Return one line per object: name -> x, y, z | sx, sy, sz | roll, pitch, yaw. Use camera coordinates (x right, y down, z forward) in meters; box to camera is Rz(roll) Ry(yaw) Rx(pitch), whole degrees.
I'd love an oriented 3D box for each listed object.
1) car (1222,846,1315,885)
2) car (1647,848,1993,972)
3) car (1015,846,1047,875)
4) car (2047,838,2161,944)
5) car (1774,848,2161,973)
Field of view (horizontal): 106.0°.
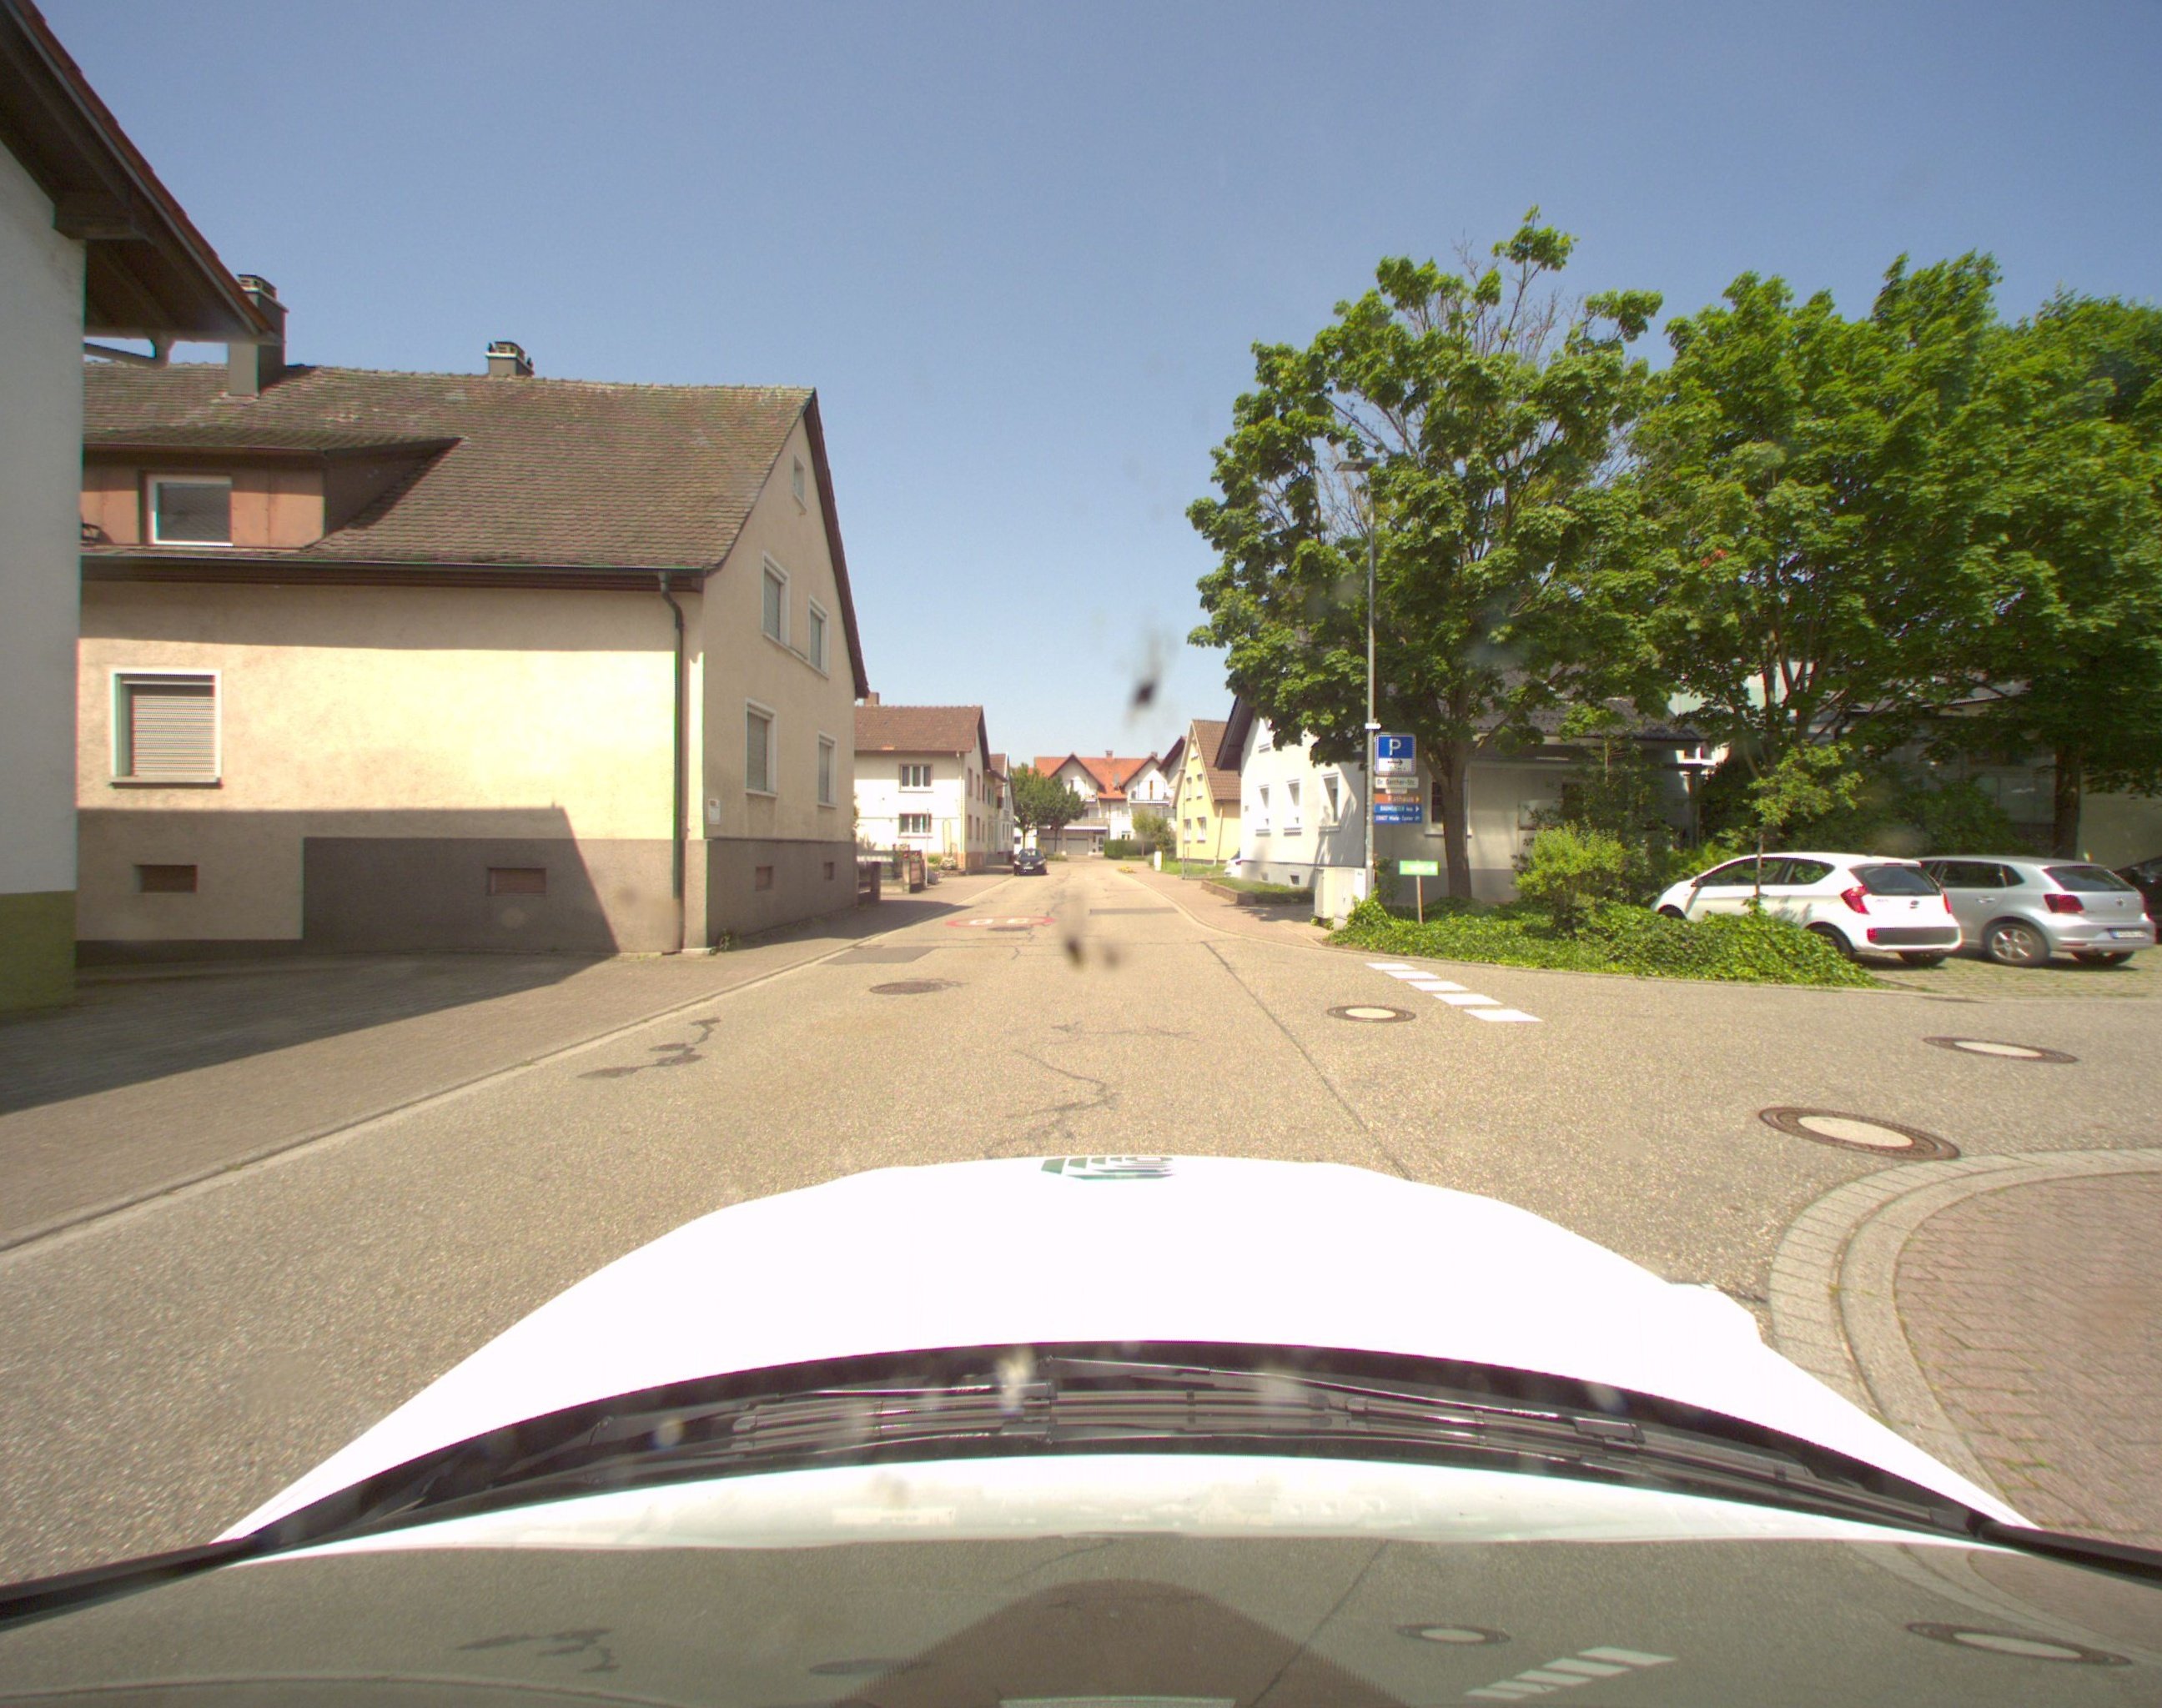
car -> 6.874, 0.419, 29.970 | 3.040, 1.345, 1.419 | -1, 0, -8
car -> 10.375, 0.671, 11.829 | 1.590, 1.445, 3.560 | 0, 2, -7
car -> -2.737, 0.346, 45.436 | 1.622, 1.486, 3.998 | -1, 1, -1
car -> 18.141, 0.612, 12.591 | 1.592, 1.683, 3.851 | 0, 2, -10
car -> 12.934, 0.686, 12.171 | 1.590, 1.473, 3.854 | 0, 2, -8
